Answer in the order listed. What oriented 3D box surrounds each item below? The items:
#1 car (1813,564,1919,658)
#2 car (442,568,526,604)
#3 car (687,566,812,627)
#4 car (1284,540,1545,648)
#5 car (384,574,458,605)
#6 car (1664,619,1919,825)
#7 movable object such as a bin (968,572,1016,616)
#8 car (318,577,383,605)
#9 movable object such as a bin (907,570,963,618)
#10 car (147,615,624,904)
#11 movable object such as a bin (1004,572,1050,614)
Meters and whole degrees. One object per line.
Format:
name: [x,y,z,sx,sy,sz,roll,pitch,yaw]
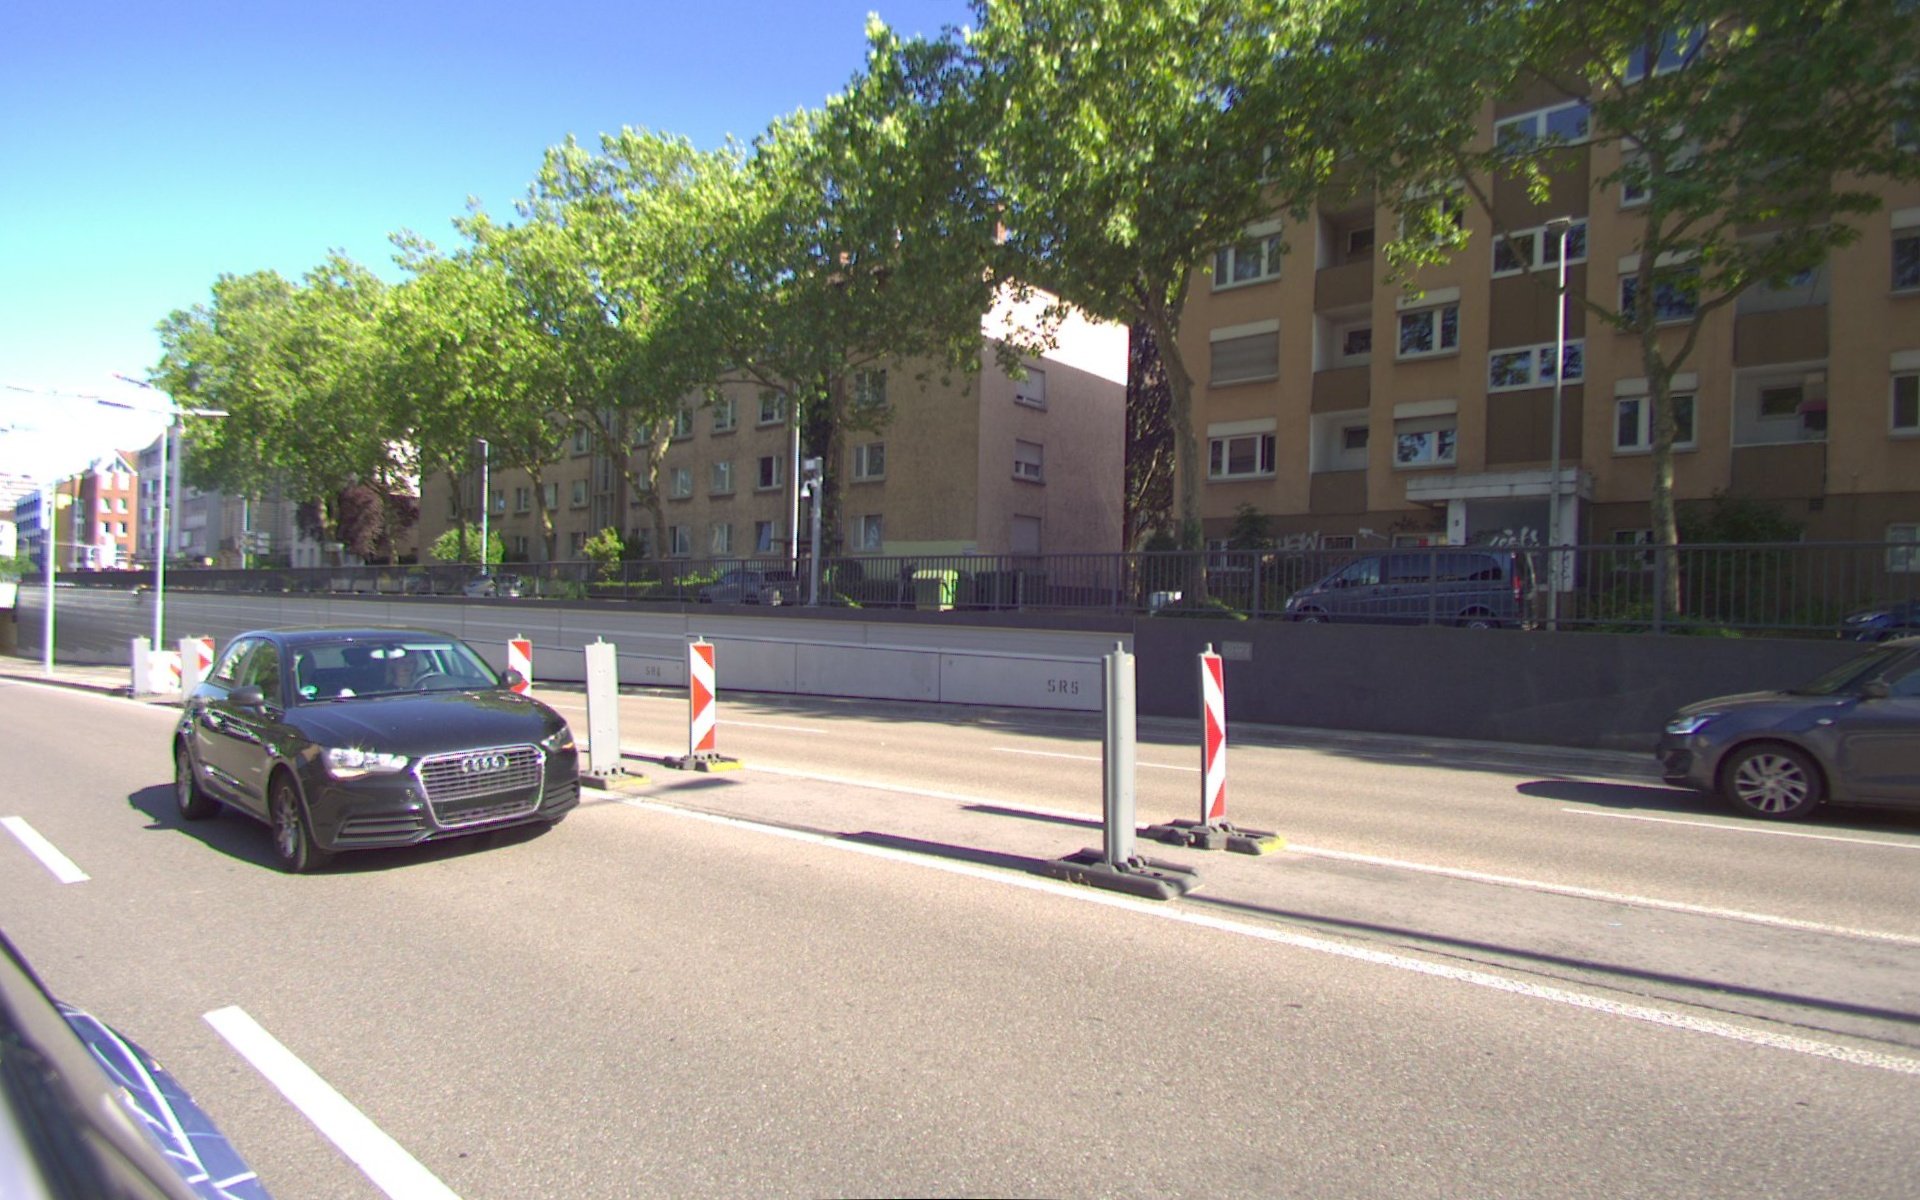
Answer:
car: [15.586,0.158,15.240,4.170,1.399,1.973,0,0,41]
car: [-22.443,-0.644,47.668,4.299,1.596,1.902,0,0,39]
car: [-7.307,-0.106,34.913,4.411,1.975,1.945,0,0,41]
car: [9.179,-0.116,20.623,4.522,1.975,1.946,0,0,39]
car: [-28.373,-0.542,53.258,4.299,1.596,1.902,0,0,39]
car: [7.633,0.912,7.613,3.714,1.476,1.523,-1,-4,40]
movable object such as a bin: [1.126,-0.216,35.453,1.146,1.495,1.301,0,0,38]
car: [-35.692,-0.525,59.243,4.299,1.596,1.902,0,0,39]
movable object such as a bin: [-0.784,-0.181,32.347,1.354,1.495,1.196,0,0,33]
car: [-4.179,0.847,7.112,3.885,1.429,1.678,0,0,40]
movable object such as a bin: [2.421,-0.247,36.638,1.146,1.495,1.301,0,0,38]
